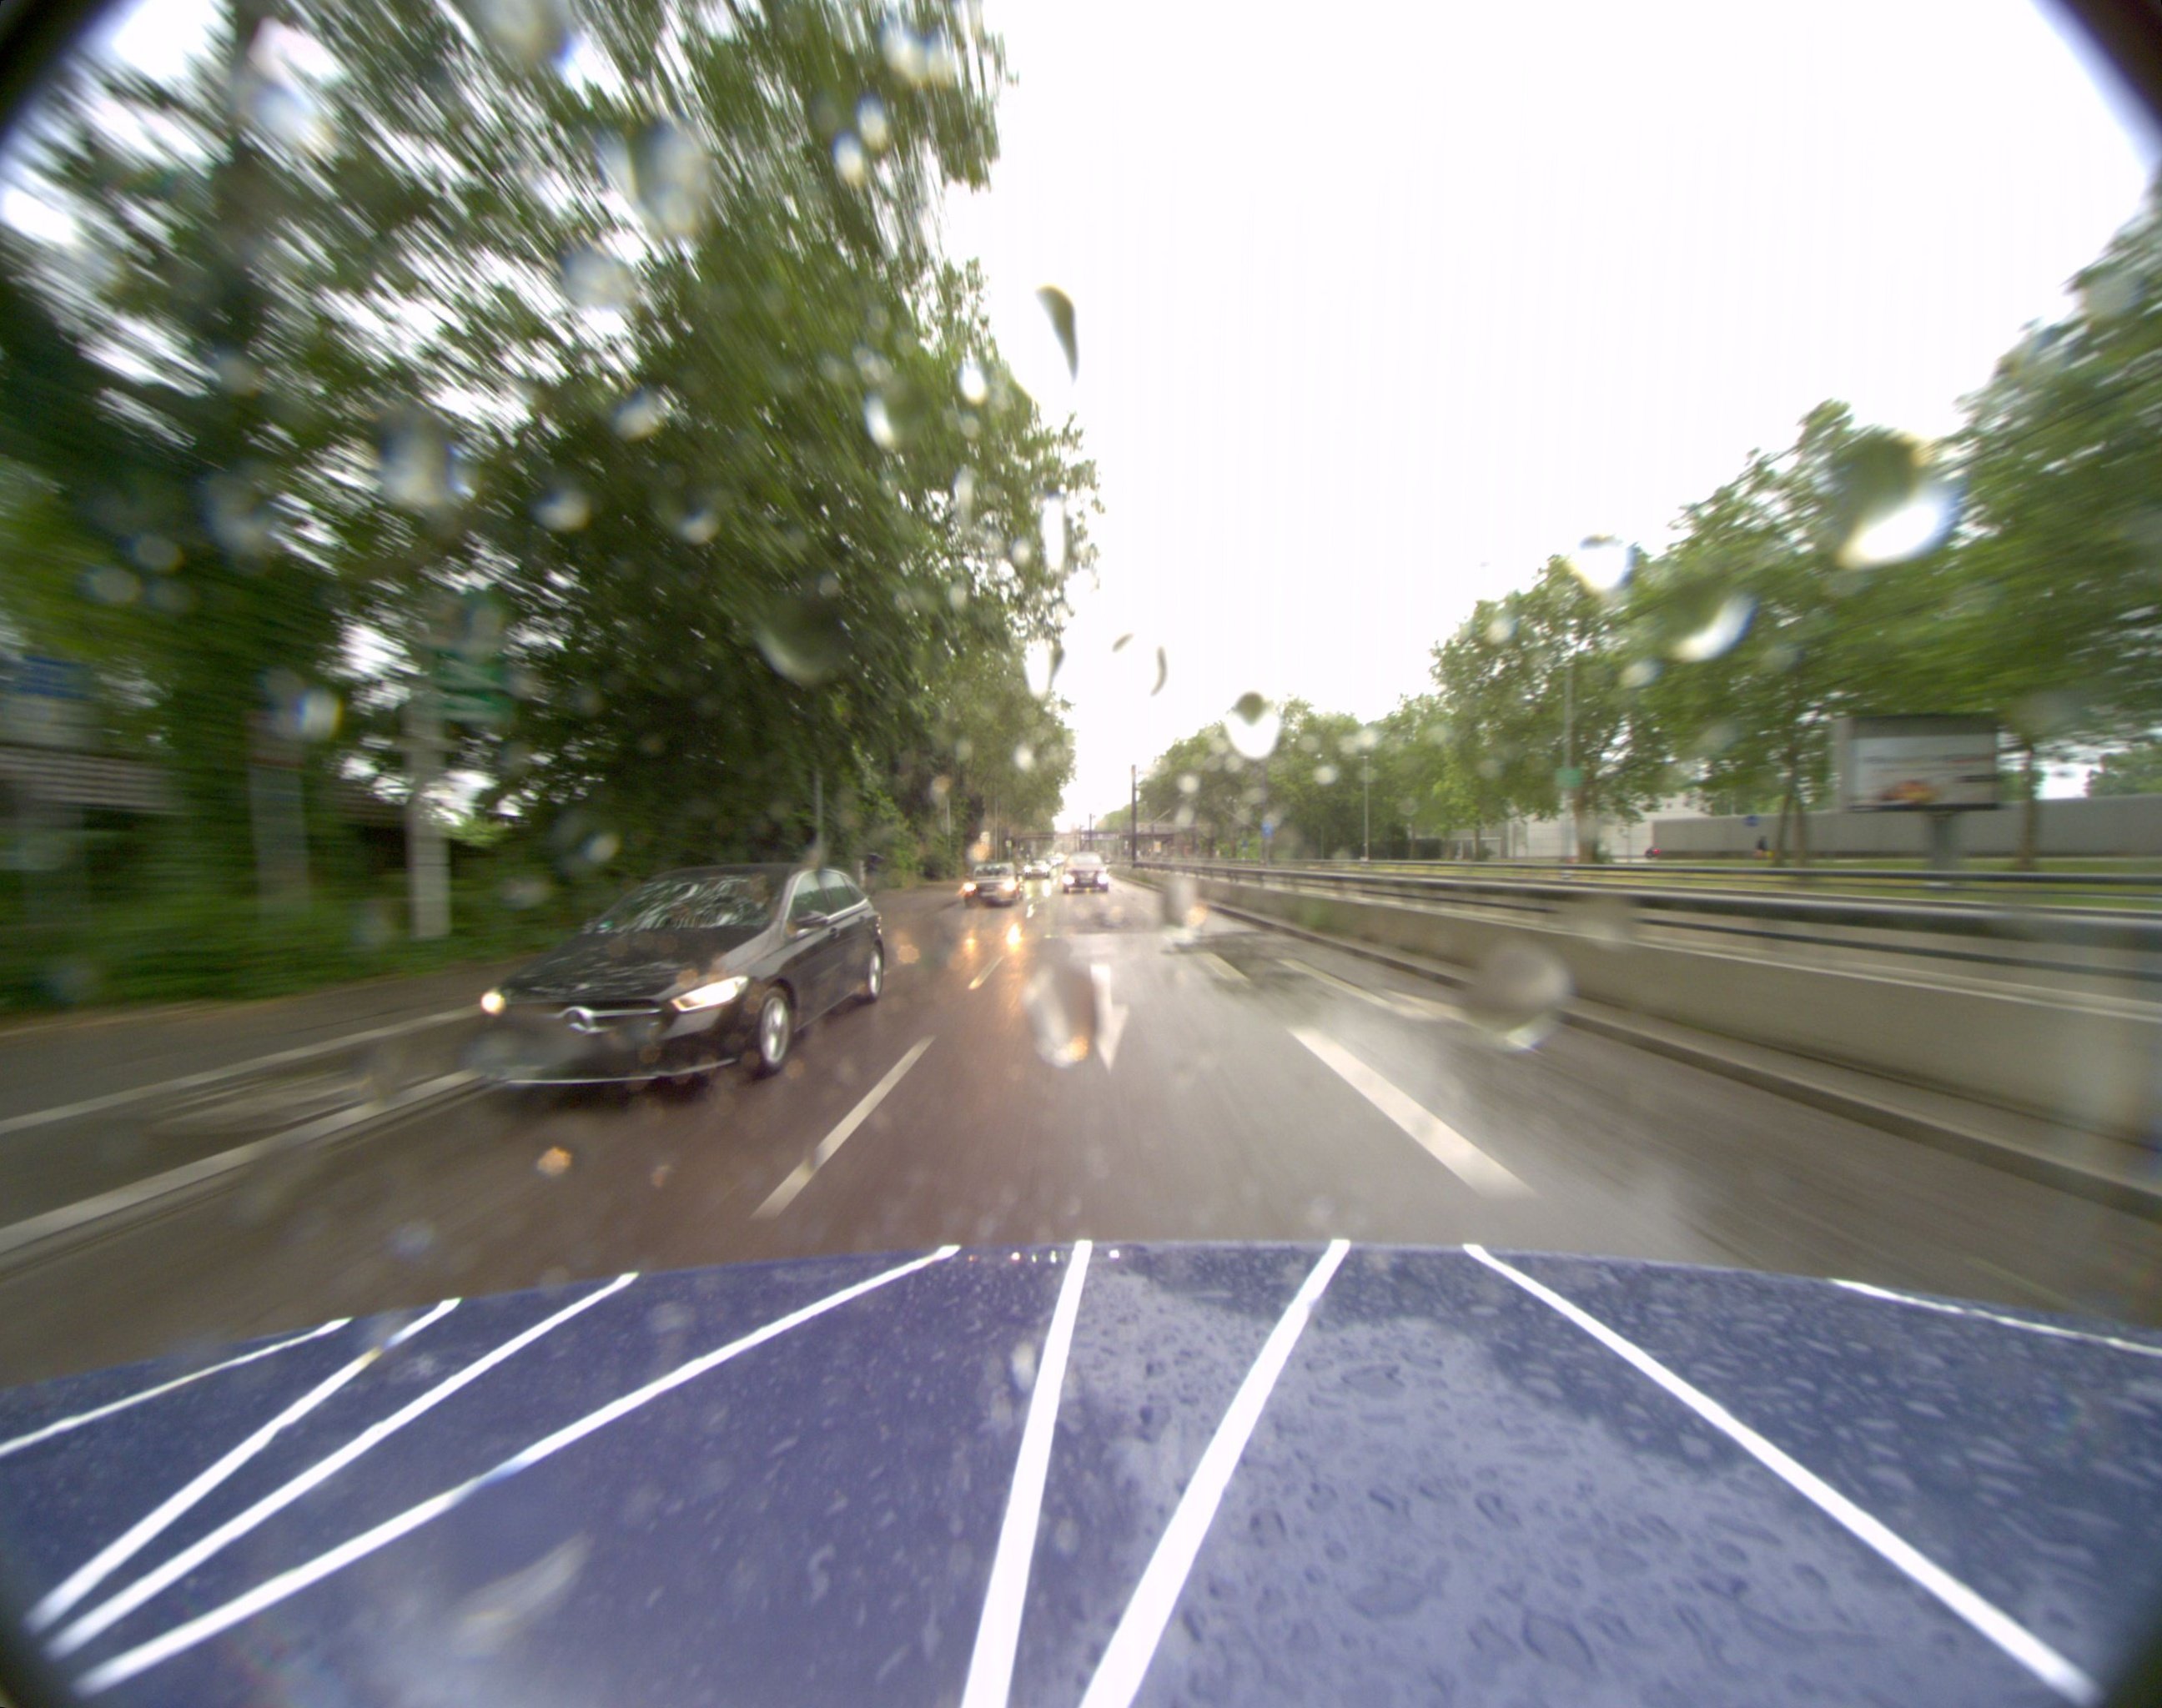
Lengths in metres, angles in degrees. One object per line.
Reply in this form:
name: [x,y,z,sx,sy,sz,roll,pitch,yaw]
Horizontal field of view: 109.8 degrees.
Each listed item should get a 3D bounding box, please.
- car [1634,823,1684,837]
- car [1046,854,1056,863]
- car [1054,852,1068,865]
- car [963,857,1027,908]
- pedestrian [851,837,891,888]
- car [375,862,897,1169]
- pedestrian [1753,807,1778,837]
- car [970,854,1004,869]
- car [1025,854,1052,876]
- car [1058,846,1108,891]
car: [61.529,-2.513,80.896,3.791,1.396,1.999,-2,1,-1]
car: [-5.691,0.790,146.113,1.870,1.689,4.157,-2,0,-2]
car: [-2.767,0.576,105.525,1.870,1.689,4.424,-2,0,-2]
car: [-2.786,0.886,25.448,1.641,1.377,3.781,-3,2,0]
pedestrian: [-7.318,0.273,26.529,0.969,1.693,1.140,-4,1,-1]
car: [-3.060,0.950,6.545,1.821,1.521,4.420,-3,1,0]
pedestrian: [47.925,-2.224,53.217,1.004,2.002,0.790,-3,2,0]
car: [-9.731,0.821,78.411,1.611,1.423,3.546,-4,2,-43]
car: [-3.024,0.761,55.075,1.821,1.521,4.157,-2,0,-2]
car: [0.097,0.576,33.018,1.975,1.794,4.158,-2,0,1]
